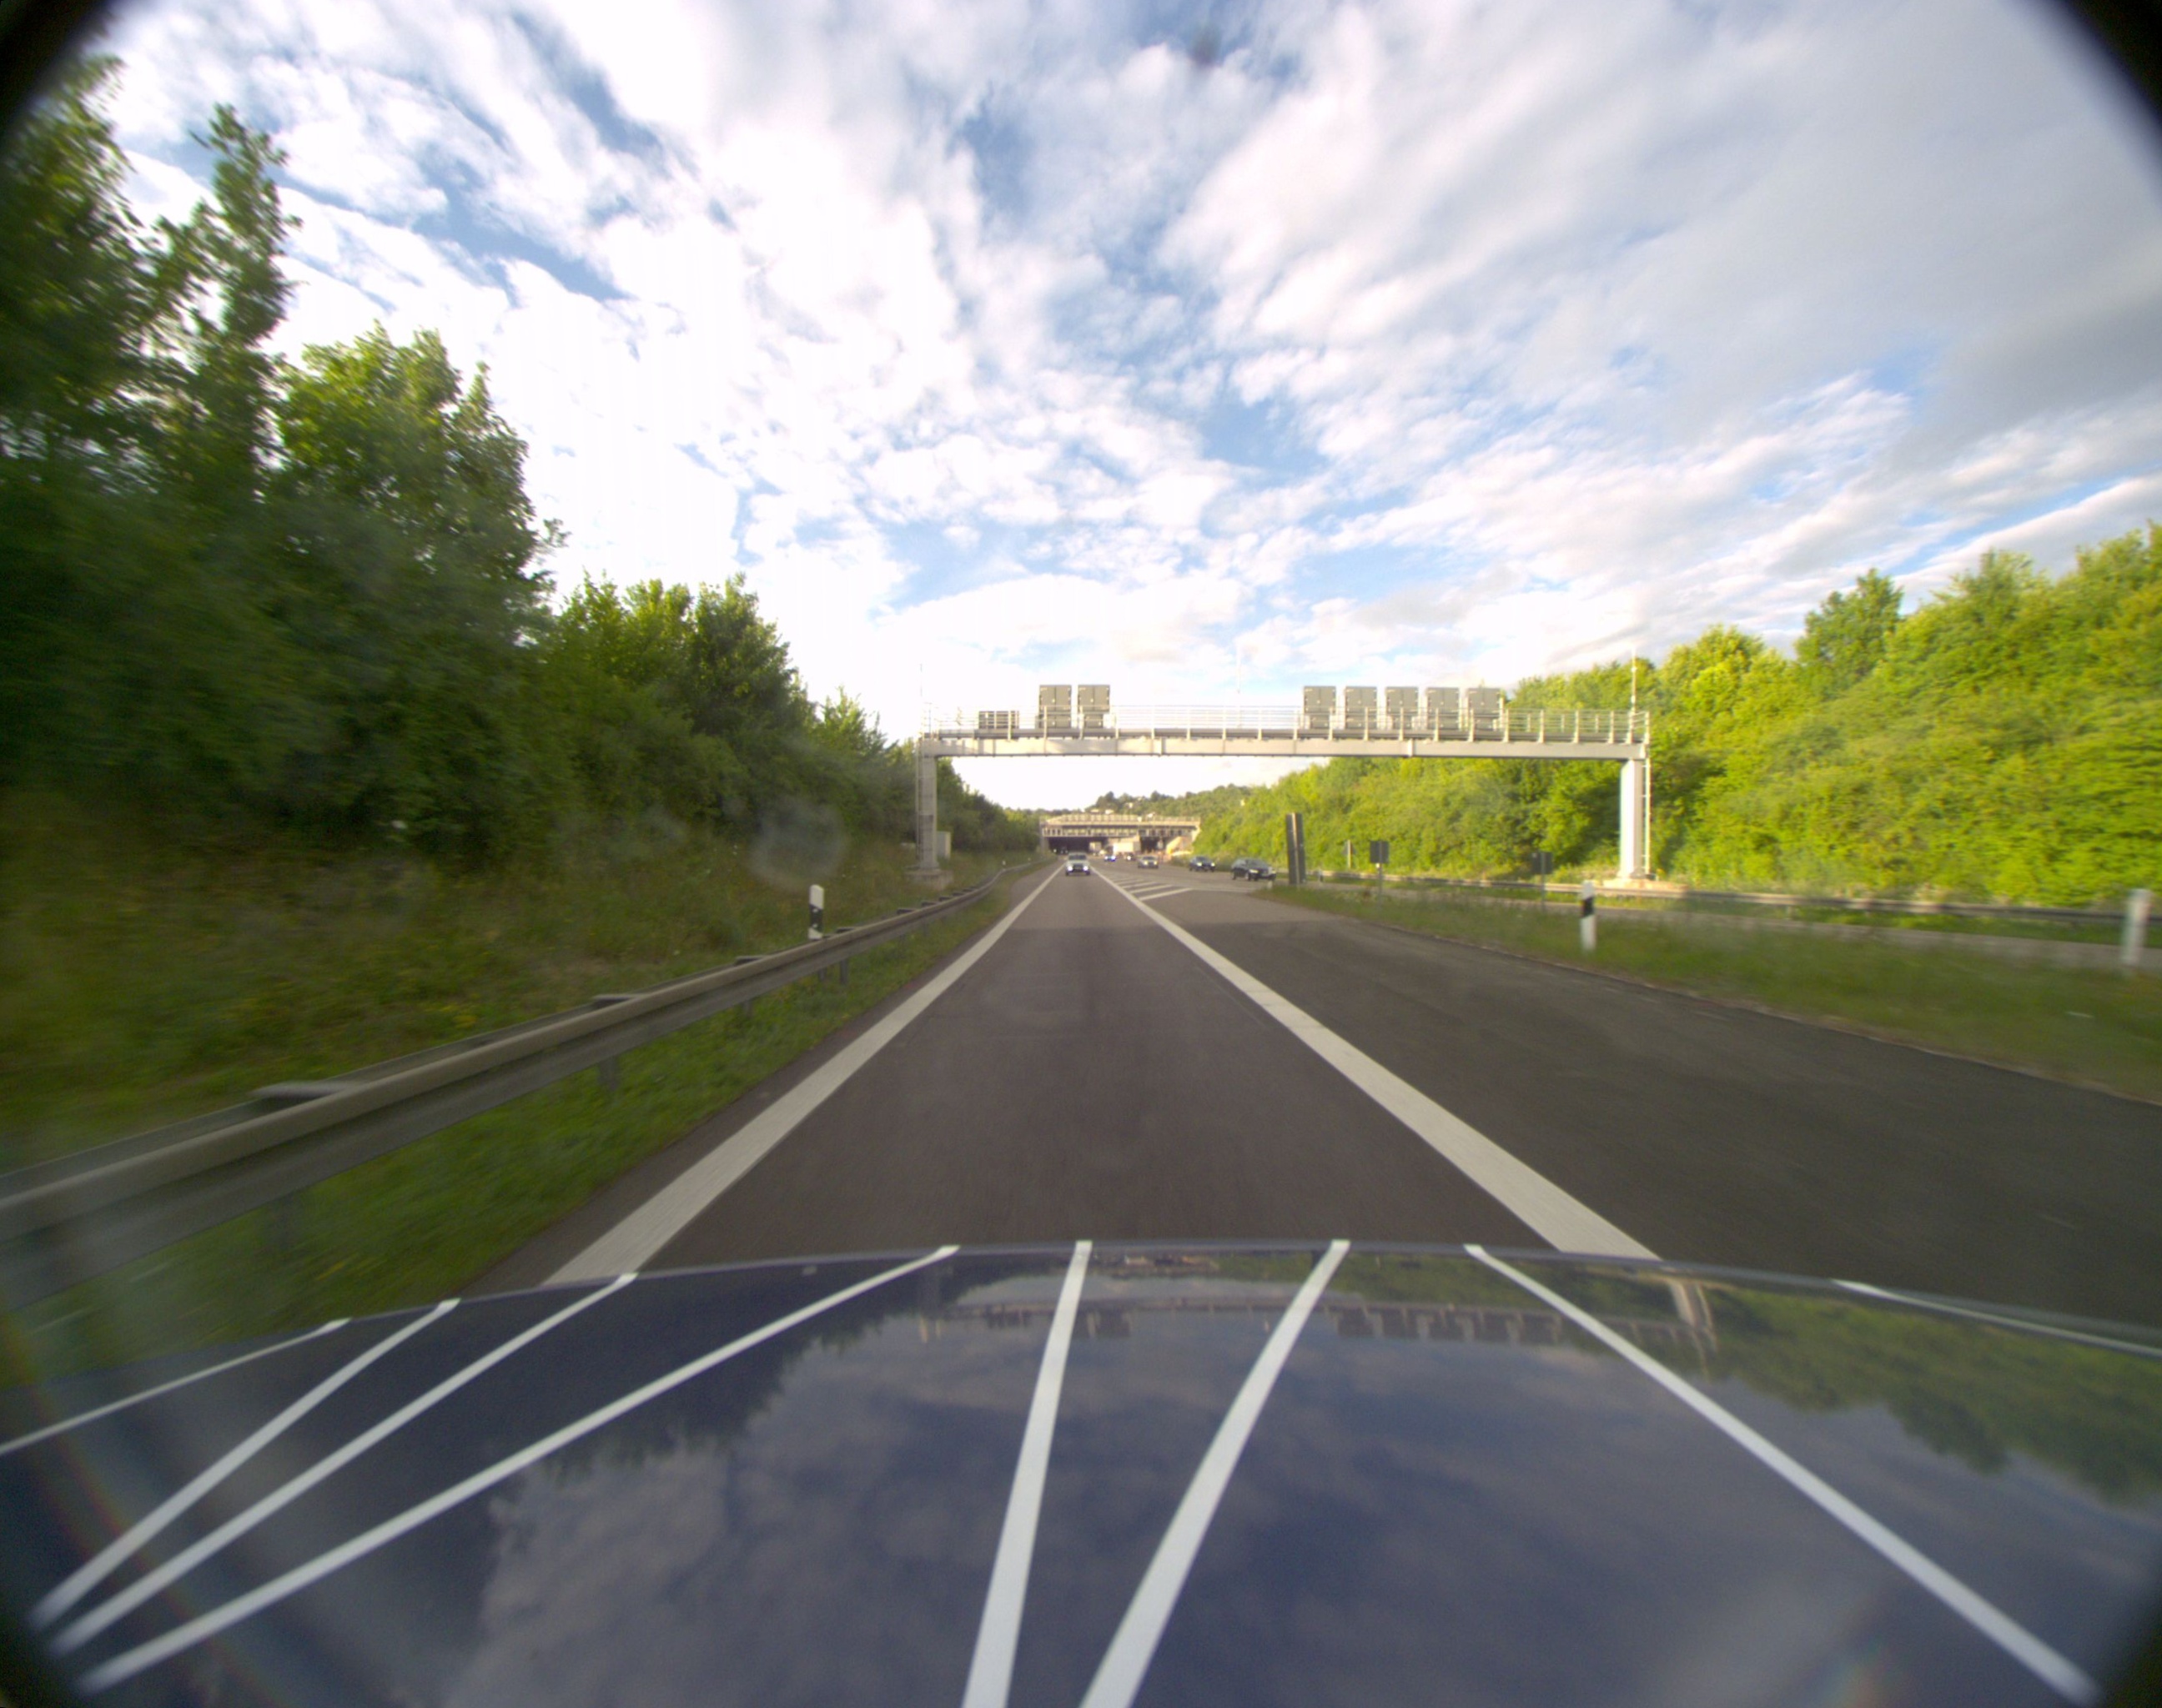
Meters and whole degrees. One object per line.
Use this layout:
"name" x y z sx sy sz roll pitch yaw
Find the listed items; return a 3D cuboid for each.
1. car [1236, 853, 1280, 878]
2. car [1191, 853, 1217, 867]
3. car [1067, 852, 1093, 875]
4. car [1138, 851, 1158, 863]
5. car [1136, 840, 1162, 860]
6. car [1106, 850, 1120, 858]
"car" 10.954 0.693 47.288 1.762 1.398 3.999 0 1 0
"car" 12.084 0.557 74.980 1.880 1.284 3.999 -1 1 0
"car" -0.032 0.727 59.667 1.904 1.655 4.000 -1 1 2
"car" 7.417 0.329 84.487 1.797 1.284 3.999 0 1 0
"car" 7.111 -0.370 79.711 1.866 2.002 3.998 -2 0 -6
"car" 6.056 -0.050 145.208 1.999 1.473 4.943 -1 1 -5
